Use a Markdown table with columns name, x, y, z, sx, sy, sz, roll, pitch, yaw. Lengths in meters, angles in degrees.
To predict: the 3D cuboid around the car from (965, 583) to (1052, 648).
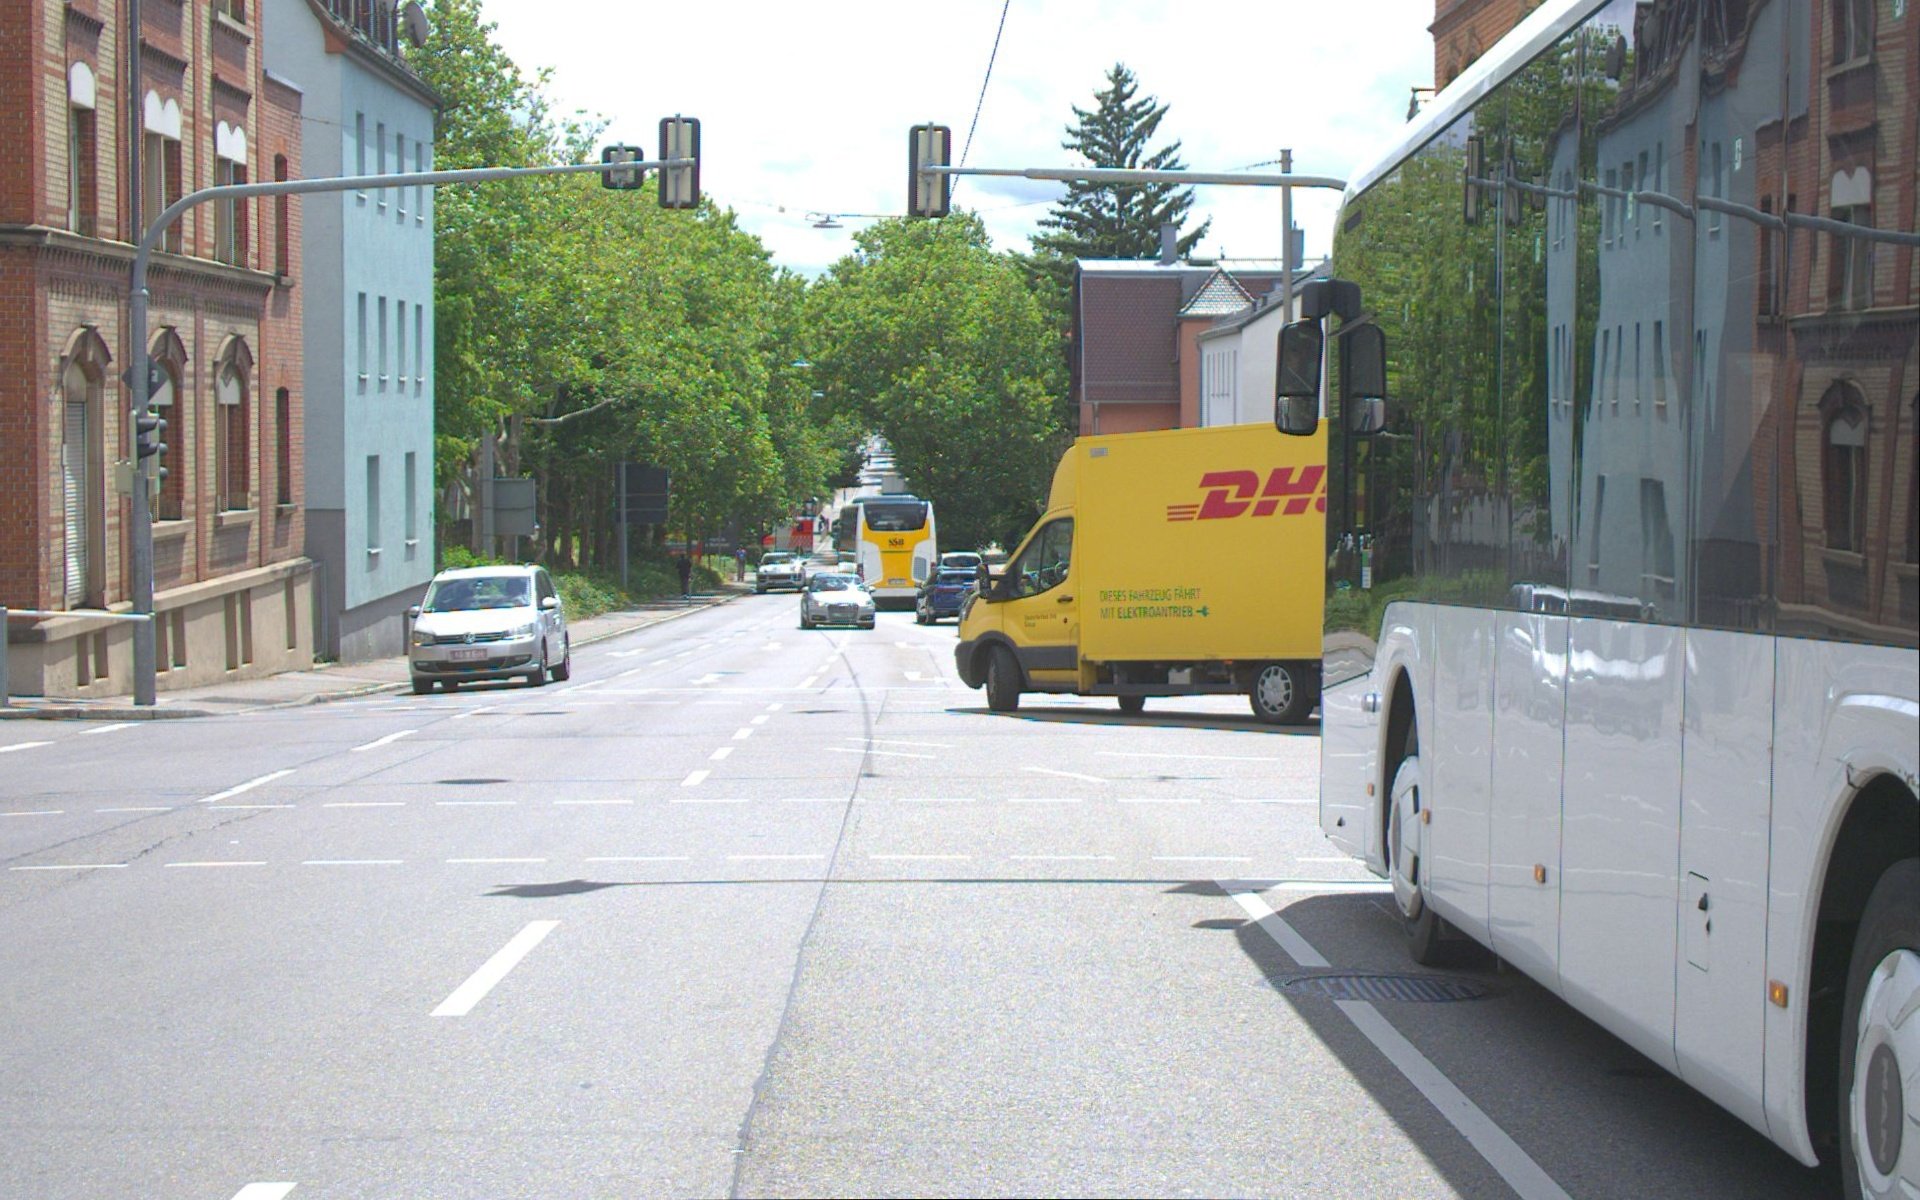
| name | x | y | z | sx | sy | sz | roll | pitch | yaw |
| --- | --- | --- | --- | --- | --- | --- | --- | --- | --- |
| car | 1.071 | 0.325 | 78.180 | 1.865 | 1.363 | 4.547 | -1 | 1 | -1 |

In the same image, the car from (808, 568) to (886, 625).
| name | x | y | z | sx | sy | sz | roll | pitch | yaw |
| --- | --- | --- | --- | --- | --- | --- | --- | --- | --- |
| car | -2.855 | -0.107 | 87.581 | 1.865 | 1.363 | 4.547 | -1 | 1 | -1 |

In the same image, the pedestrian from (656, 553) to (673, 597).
| name | x | y | z | sx | sy | sz | roll | pitch | yaw |
| --- | --- | --- | --- | --- | --- | --- | --- | --- | --- |
| pedestrian | -11.747 | -0.999 | 136.514 | 0.606 | 1.752 | 0.654 | -1 | 1 | -2 |

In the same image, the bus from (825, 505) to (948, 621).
| name | x | y | z | sx | sy | sz | roll | pitch | yaw |
| --- | --- | --- | --- | --- | --- | --- | --- | --- | --- |
| bus | -2.516 | -1.249 | 113.601 | 3.300 | 3.618 | 11.246 | -1 | 1 | -5 |

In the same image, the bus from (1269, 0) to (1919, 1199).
| name | x | y | z | sx | sy | sz | roll | pitch | yaw |
| --- | --- | --- | --- | --- | --- | --- | --- | --- | --- |
| bus | 2.947 | -0.297 | 9.276 | 2.904 | 3.498 | 12.488 | 1 | 1 | -1 |

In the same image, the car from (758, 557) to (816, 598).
| name | x | y | z | sx | sy | sz | roll | pitch | yaw |
| --- | --- | --- | --- | --- | --- | --- | --- | --- | --- |
| car | -7.130 | -0.944 | 142.428 | 2.207 | 1.607 | 4.547 | -1 | 1 | -1 |

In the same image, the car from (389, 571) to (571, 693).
| name | x | y | z | sx | sy | sz | roll | pitch | yaw |
| --- | --- | --- | --- | --- | --- | --- | --- | --- | --- |
| car | -6.572 | 0.407 | 47.523 | 1.935 | 1.558 | 4.389 | -1 | 1 | -1 |

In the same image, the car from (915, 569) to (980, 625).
| name | x | y | z | sx | sy | sz | roll | pitch | yaw |
| --- | --- | --- | --- | --- | --- | --- | --- | --- | --- |
| car | -0.340 | -0.084 | 88.231 | 1.608 | 1.371 | 4.000 | 0 | 1 | -1 |

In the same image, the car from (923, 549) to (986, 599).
| name | x | y | z | sx | sy | sz | roll | pitch | yaw |
| --- | --- | --- | --- | --- | --- | --- | --- | --- | --- |
| car | -0.237 | -0.990 | 129.150 | 2.091 | 1.824 | 4.143 | 0 | 1 | -4 |

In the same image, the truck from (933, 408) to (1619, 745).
| name | x | y | z | sx | sy | sz | roll | pitch | yaw |
| --- | --- | --- | --- | --- | --- | --- | --- | --- | --- |
| truck | 2.862 | -0.248 | 32.949 | 2.542 | 2.903 | 6.570 | 0 | 1 | -41 |

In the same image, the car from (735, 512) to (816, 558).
| name | x | y | z | sx | sy | sz | roll | pitch | yaw |
| --- | --- | --- | --- | --- | --- | --- | --- | --- | --- |
| car | -12.803 | -4.510 | 238.785 | 5.611 | 3.059 | 2.147 | 0 | 1 | -45 |
